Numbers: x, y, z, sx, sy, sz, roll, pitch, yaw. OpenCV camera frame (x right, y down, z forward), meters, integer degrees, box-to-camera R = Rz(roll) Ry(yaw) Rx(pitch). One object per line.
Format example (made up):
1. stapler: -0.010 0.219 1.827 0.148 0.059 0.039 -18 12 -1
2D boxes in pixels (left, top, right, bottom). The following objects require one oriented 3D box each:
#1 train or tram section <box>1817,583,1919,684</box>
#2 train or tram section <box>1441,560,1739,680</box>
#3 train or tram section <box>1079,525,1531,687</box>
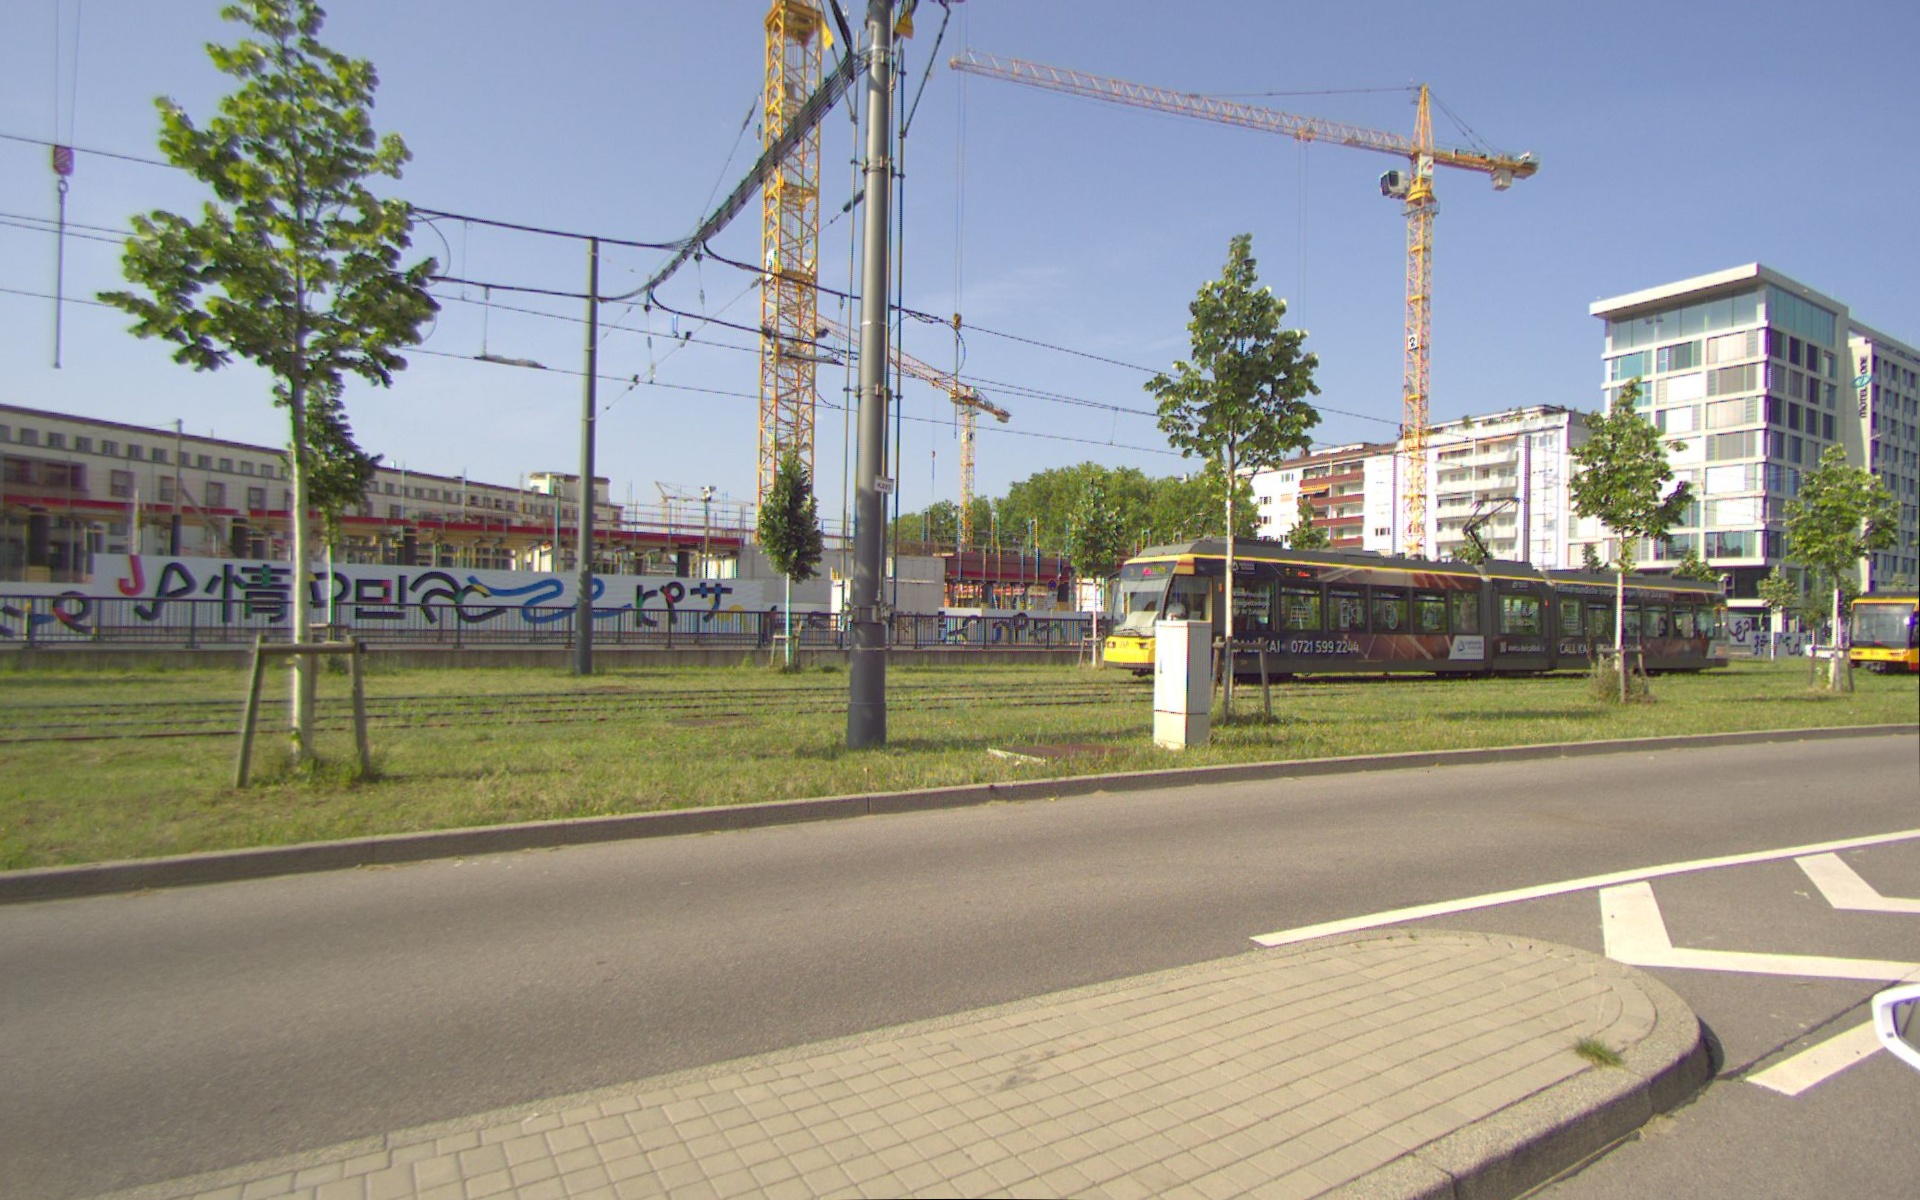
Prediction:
1. train or tram section: 42.579 1.588 42.893 17.916 3.725 2.893 3 0 -29
2. train or tram section: 22.105 0.796 34.726 13.452 3.584 2.867 2 -1 -31
3. train or tram section: 9.981 0.358 27.334 14.729 3.584 2.845 2 -1 -31
